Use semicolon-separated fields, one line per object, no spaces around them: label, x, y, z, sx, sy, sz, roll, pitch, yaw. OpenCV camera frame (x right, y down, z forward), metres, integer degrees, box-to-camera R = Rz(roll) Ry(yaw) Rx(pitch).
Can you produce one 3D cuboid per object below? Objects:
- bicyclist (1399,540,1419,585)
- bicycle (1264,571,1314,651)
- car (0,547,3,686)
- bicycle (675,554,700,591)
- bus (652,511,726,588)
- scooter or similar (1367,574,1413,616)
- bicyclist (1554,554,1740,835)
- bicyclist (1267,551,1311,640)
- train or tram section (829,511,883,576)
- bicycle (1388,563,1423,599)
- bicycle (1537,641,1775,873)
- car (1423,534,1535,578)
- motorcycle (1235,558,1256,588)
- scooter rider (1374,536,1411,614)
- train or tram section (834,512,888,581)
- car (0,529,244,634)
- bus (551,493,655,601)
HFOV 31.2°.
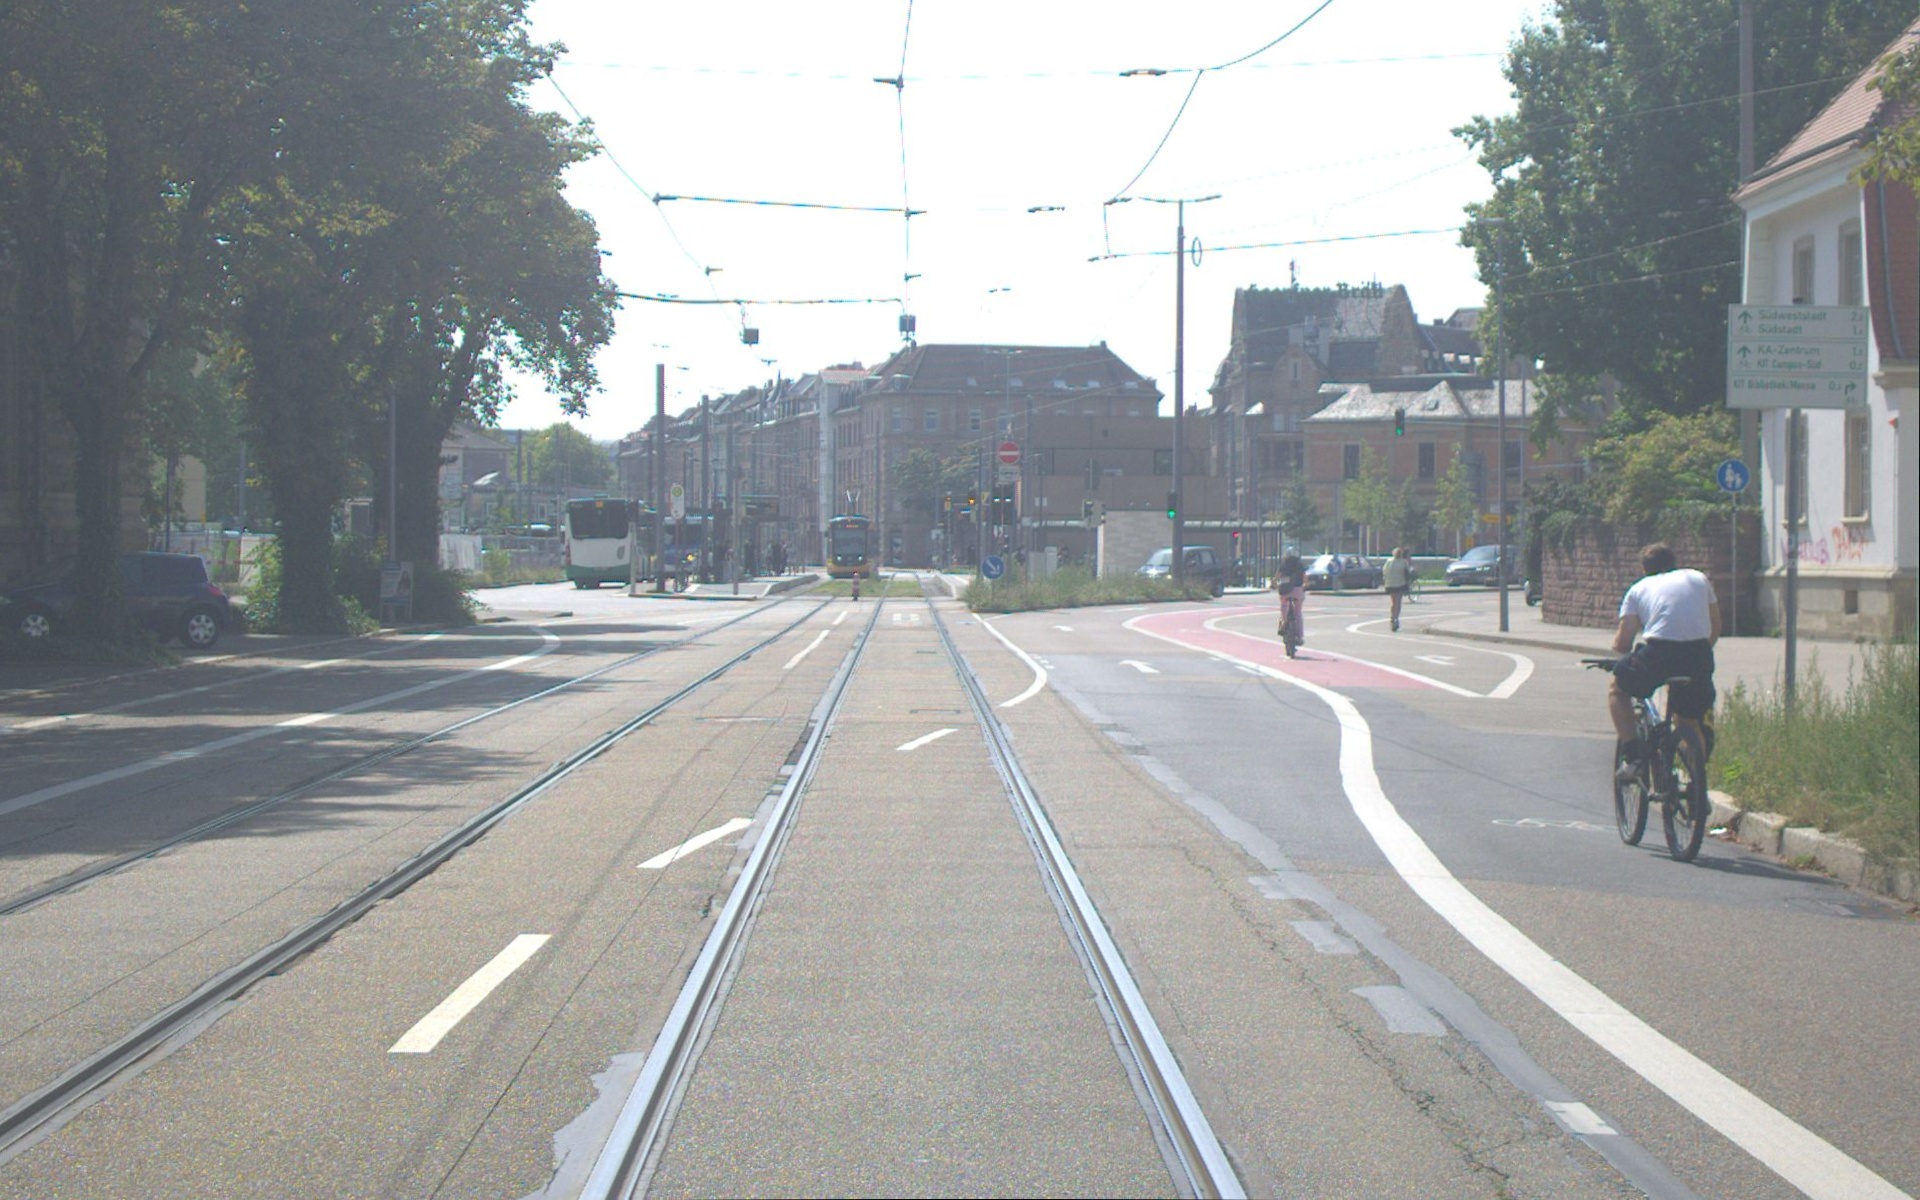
bicyclist;13.953;-1.168;106.847;0.450;1.416;0.494;0;1;36
bicycle;4.922;0.157;51.508;0.604;1.159;1.810;0;1;2
car;-12.487;0.131;36.063;4.414;1.457;1.821;1;1;-27
bicycle;-9.067;-0.923;114.434;0.607;1.218;1.705;0;1;3
bus;-13.550;-2.512;172.828;2.709;3.714;10.419;1;1;1
scooter or similar;9.884;-0.128;78.930;0.773;0.923;1.619;1;1;17
bicyclist;3.558;0.471;17.869;0.745;1.407;0.962;1;1;0
bicyclist;4.928;-0.070;51.535;0.603;1.330;0.660;0;1;2
train or tram section;-5.904;-3.206;198.117;2.856;3.536;17.744;1;1;-1
bicycle;13.832;-0.592;106.682;0.445;1.113;1.443;0;1;36
bicycle;3.561;0.776;17.788;0.739;1.045;2.233;1;1;-1
car;19.392;-1.649;128.341;1.776;1.605;4.661;1;1;44
motorcycle;11.477;-1.095;138.116;0.604;1.206;2.252;1;1;10
scooter rider;9.963;-0.575;79.204;0.762;1.769;0.554;1;1;17
train or tram section;-6.157;-3.336;216.605;2.886;4.054;19.142;1;1;0
car;-12.971;-0.291;51.145;4.151;1.491;1.821;0;1;-38
bus;-13.174;-1.947;127.724;2.957;3.762;10.597;1;1;-1
